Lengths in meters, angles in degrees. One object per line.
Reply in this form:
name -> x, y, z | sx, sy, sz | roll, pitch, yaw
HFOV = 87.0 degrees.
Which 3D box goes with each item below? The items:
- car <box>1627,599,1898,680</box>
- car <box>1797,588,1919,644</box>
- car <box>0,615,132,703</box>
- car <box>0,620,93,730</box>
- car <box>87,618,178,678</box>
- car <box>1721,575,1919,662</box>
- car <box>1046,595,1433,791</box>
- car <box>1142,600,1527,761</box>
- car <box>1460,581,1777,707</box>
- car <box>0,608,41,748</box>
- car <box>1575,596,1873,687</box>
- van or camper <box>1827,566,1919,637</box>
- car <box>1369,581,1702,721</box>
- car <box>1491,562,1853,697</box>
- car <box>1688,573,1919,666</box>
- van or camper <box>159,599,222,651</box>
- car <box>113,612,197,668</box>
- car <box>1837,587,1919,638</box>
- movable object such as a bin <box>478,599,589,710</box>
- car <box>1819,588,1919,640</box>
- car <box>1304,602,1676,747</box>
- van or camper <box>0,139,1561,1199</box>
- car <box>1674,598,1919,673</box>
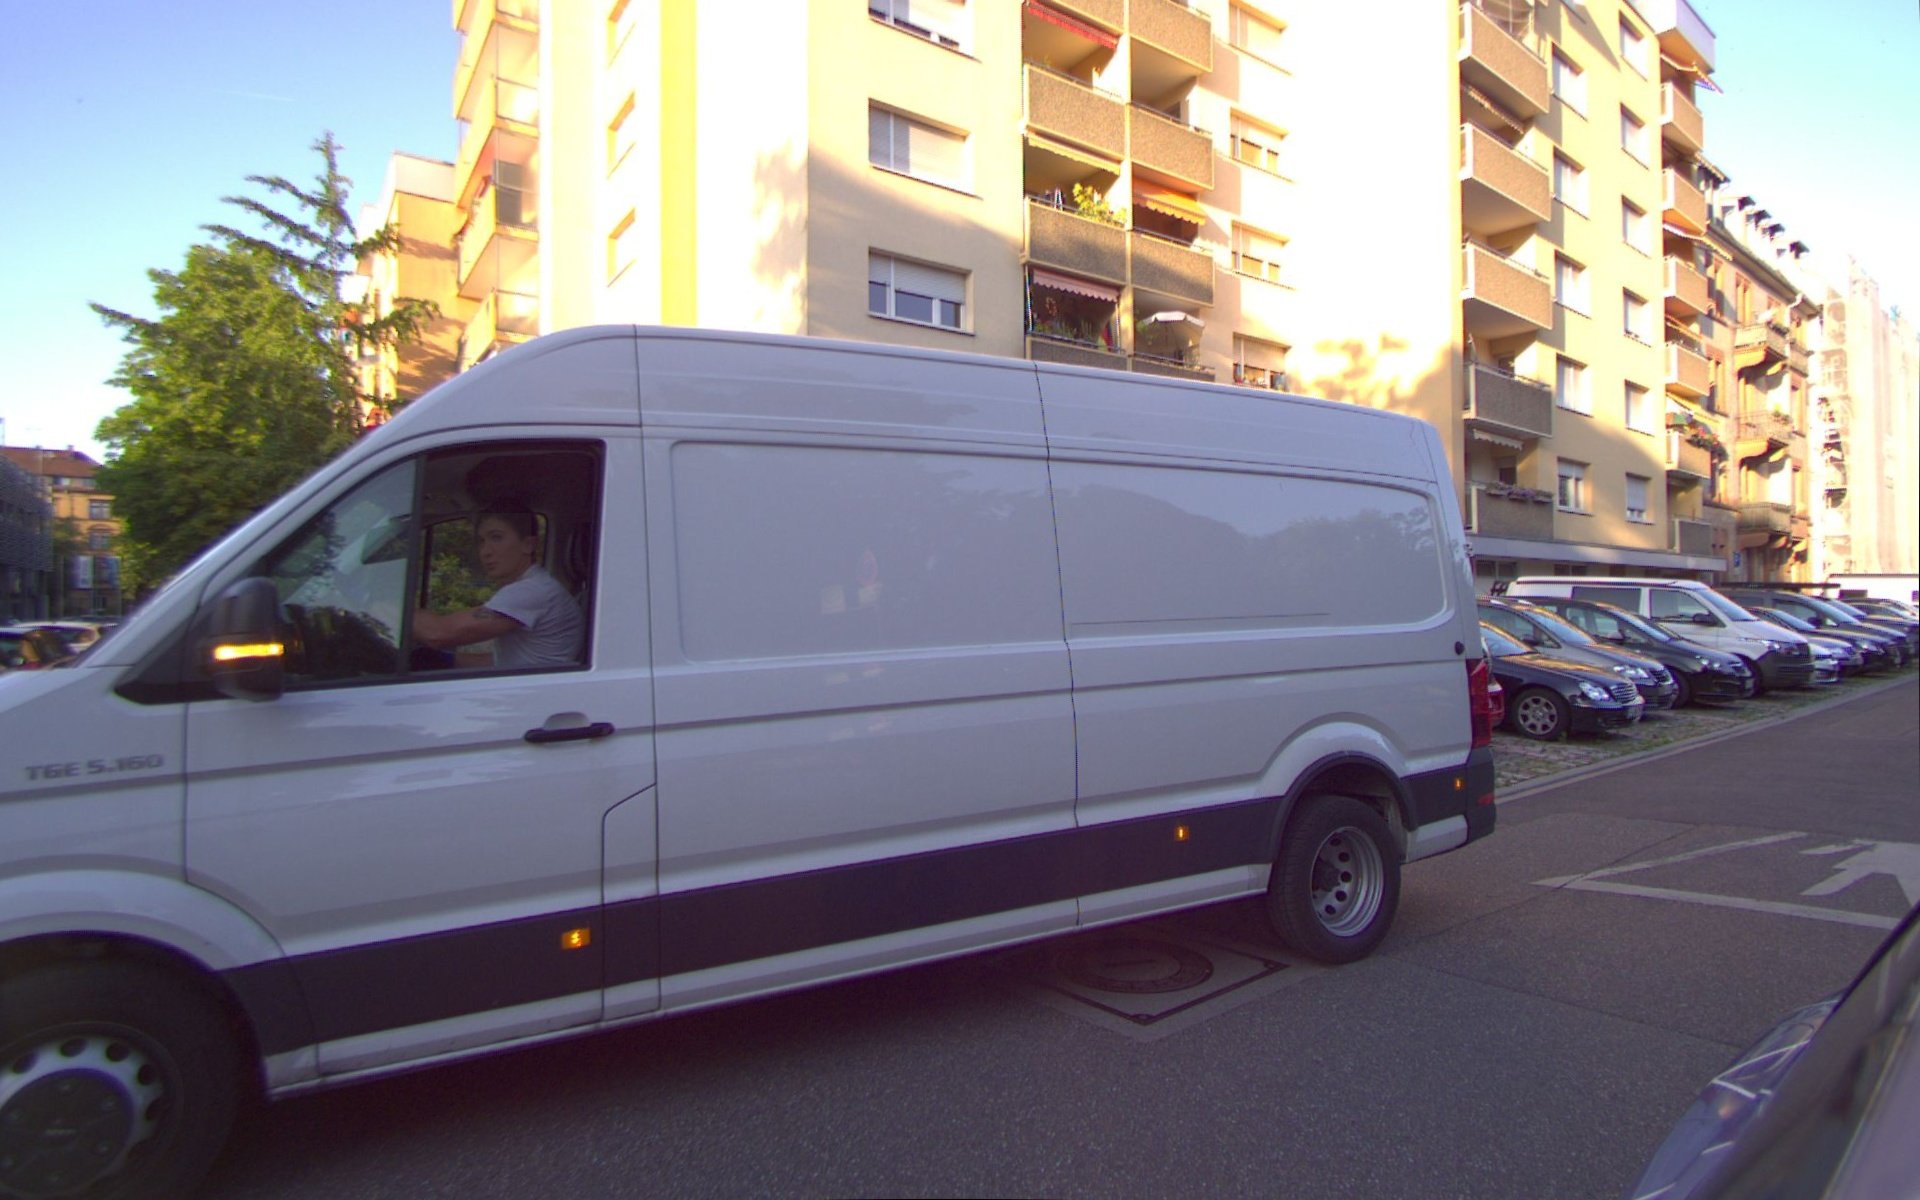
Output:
car -> 16.548, 0.729, 21.056 | 1.711, 1.479, 4.141 | 0, 0, -37
car -> 28.964, 0.464, 31.396 | 1.711, 1.680, 4.360 | 0, 0, -37
car -> -17.084, 1.046, 19.167 | 1.781, 1.434, 3.896 | -1, 0, -34
car -> -14.555, 1.071, 15.334 | 1.689, 1.437, 4.028 | -1, 0, -34
car -> -23.017, 1.280, 28.262 | 1.584, 1.480, 4.054 | -1, 0, -34
car -> 22.075, 0.409, 25.480 | 1.711, 2.023, 4.360 | 0, 0, -37
car -> 2.705, 0.775, 10.414 | 1.597, 1.531, 3.568 | 0, 2, -39
car -> 4.337, 0.803, 12.189 | 1.797, 1.571, 3.993 | -1, 0, -41
car -> 10.799, 0.622, 16.831 | 1.797, 1.836, 4.105 | 0, 0, -41
car -> -12.013, 0.911, 11.508 | 1.781, 1.595, 3.885 | -1, 0, -34
car -> 14.753, 0.709, 19.784 | 1.711, 1.563, 4.363 | 0, 0, -37
van or camper -> 35.339, 0.044, 36.351 | 2.156, 2.521, 6.100 | 0, 0, -37
car -> 8.569, 0.648, 15.345 | 1.797, 1.836, 4.047 | 0, 0, -41
car -> 12.792, 0.443, 18.554 | 1.963, 2.112, 5.076 | 0, 0, -36
car -> 20.222, 0.409, 24.131 | 1.711, 2.023, 4.360 | 0, 0, -37
van or camper -> -34.268, 1.048, 45.169 | 2.032, 2.122, 5.090 | 0, 0, -35
car -> -25.618, 1.215, 32.328 | 1.763, 1.582, 4.194 | -1, 0, -34
car -> 32.658, 0.418, 34.152 | 1.711, 1.680, 4.360 | 0, 0, -37
movable object such as a bin -> -6.194, 0.738, 14.667 | 1.106, 1.489, 1.581 | 0, 0, -38
car -> 31.020, 0.438, 32.984 | 1.711, 1.680, 4.360 | 0, 0, -37
car -> 6.827, 0.829, 13.366 | 1.797, 1.571, 3.993 | -1, 0, -41
van or camper -> -0.492, 0.258, 4.443 | 6.731, 2.624, 2.098 | 0, -3, -28
car -> 18.500, 0.707, 22.351 | 1.711, 1.479, 4.141 | 0, 0, -37
